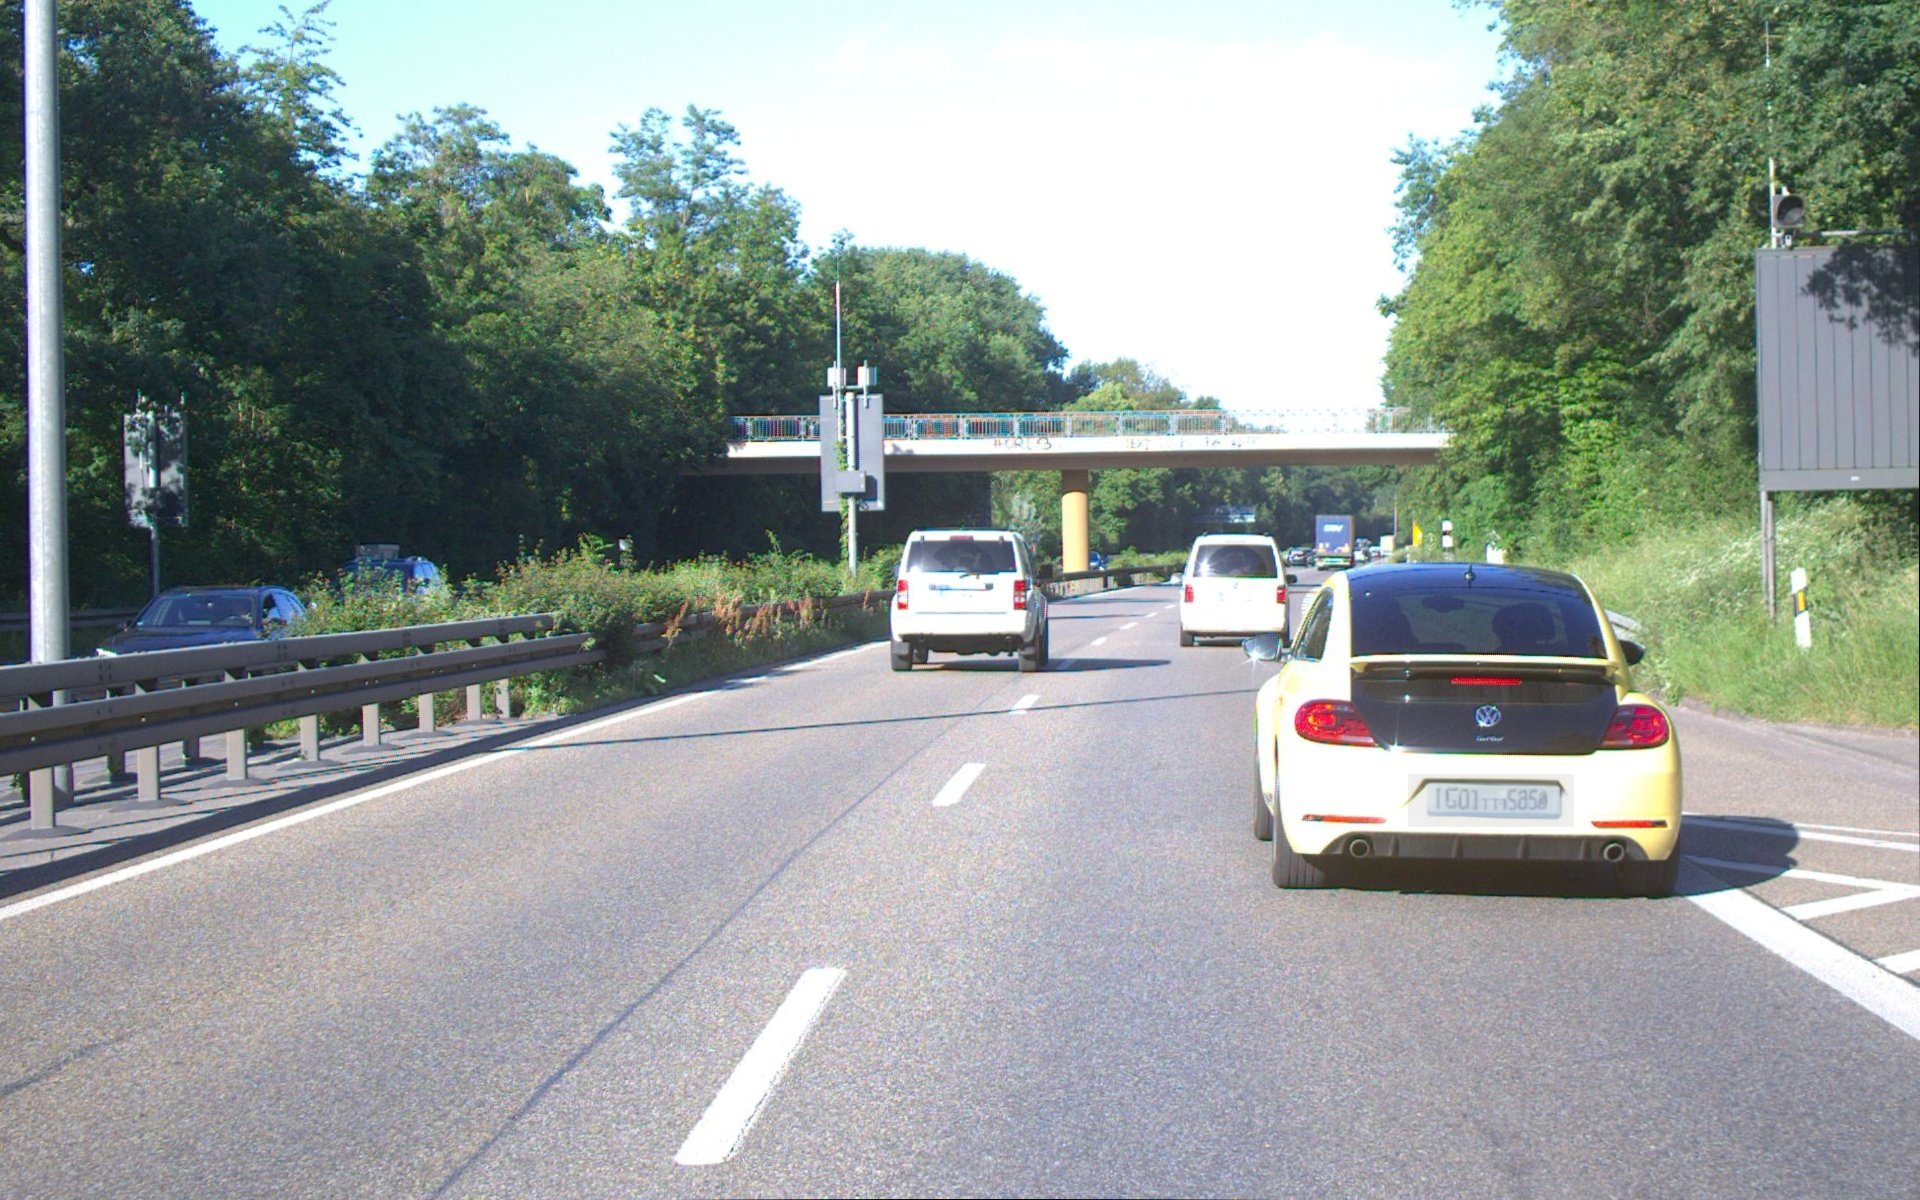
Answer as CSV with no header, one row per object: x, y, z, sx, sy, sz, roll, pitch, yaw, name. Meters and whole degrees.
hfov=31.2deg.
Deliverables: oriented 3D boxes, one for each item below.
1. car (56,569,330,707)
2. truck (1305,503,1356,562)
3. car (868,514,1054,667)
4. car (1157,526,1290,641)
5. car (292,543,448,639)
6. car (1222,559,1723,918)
-8.836,0.394,40.036,1.961,1.462,4.876,0,1,2,car
27.097,-4.917,251.242,3.497,4.158,8.859,-1,1,7,truck
0.063,-0.151,43.904,2.085,1.822,4.000,1,1,4,car
4.249,-0.290,56.087,1.863,1.764,4.470,-1,1,1,car
-10.992,-0.206,64.354,1.961,1.718,4.744,0,1,2,car
2.312,0.553,16.596,1.879,1.456,4.356,1,1,2,car
